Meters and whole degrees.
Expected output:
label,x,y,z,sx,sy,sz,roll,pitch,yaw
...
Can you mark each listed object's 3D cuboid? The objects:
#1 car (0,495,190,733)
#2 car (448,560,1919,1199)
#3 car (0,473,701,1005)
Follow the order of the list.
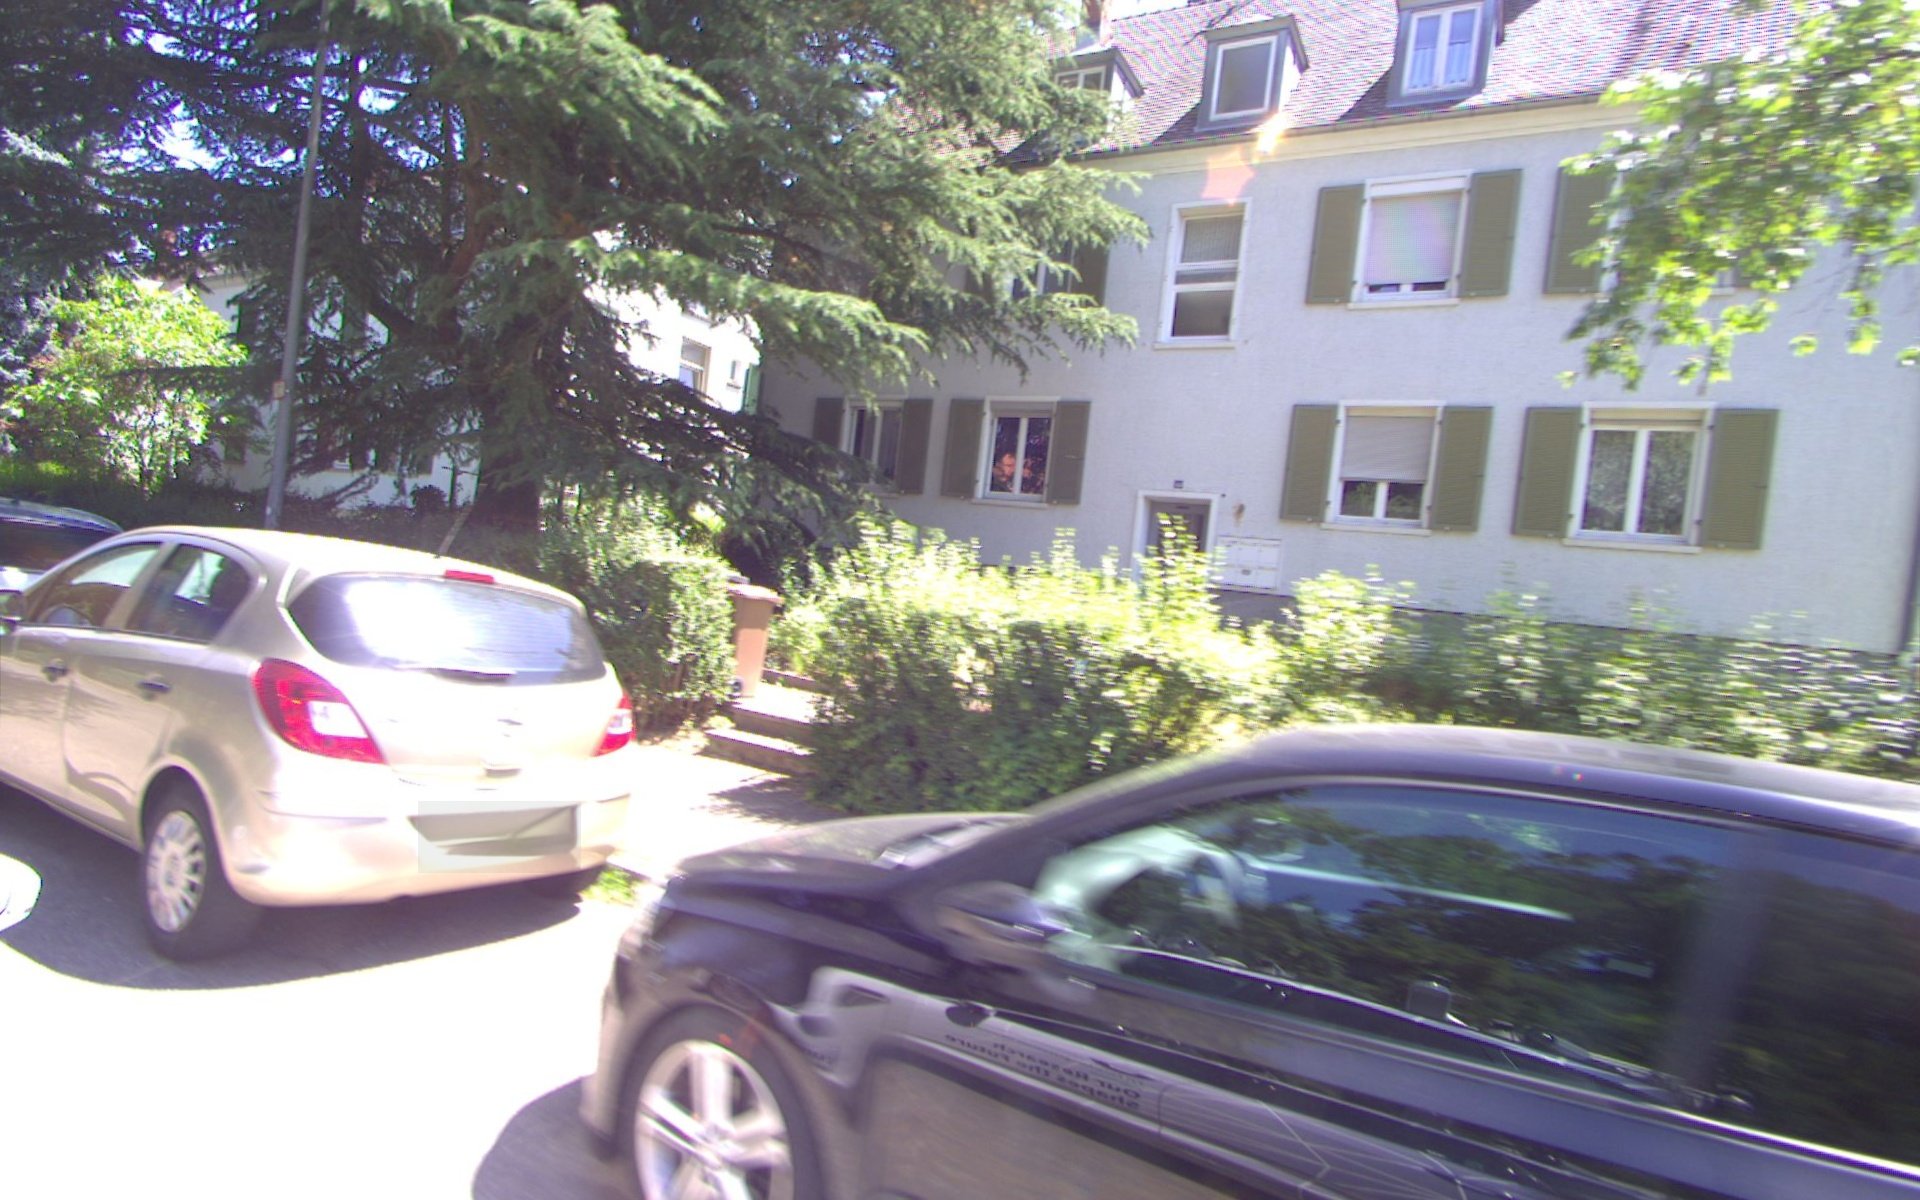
label,x,y,z,sx,sy,sz,roll,pitch,yaw
car,-7.660,-0.083,7.472,4.304,1.467,1.617,6,-2,33
car,0.957,0.911,2.040,3.941,1.459,1.585,7,-3,31
car,-3.335,0.356,4.746,3.996,1.529,1.618,6,-3,31
